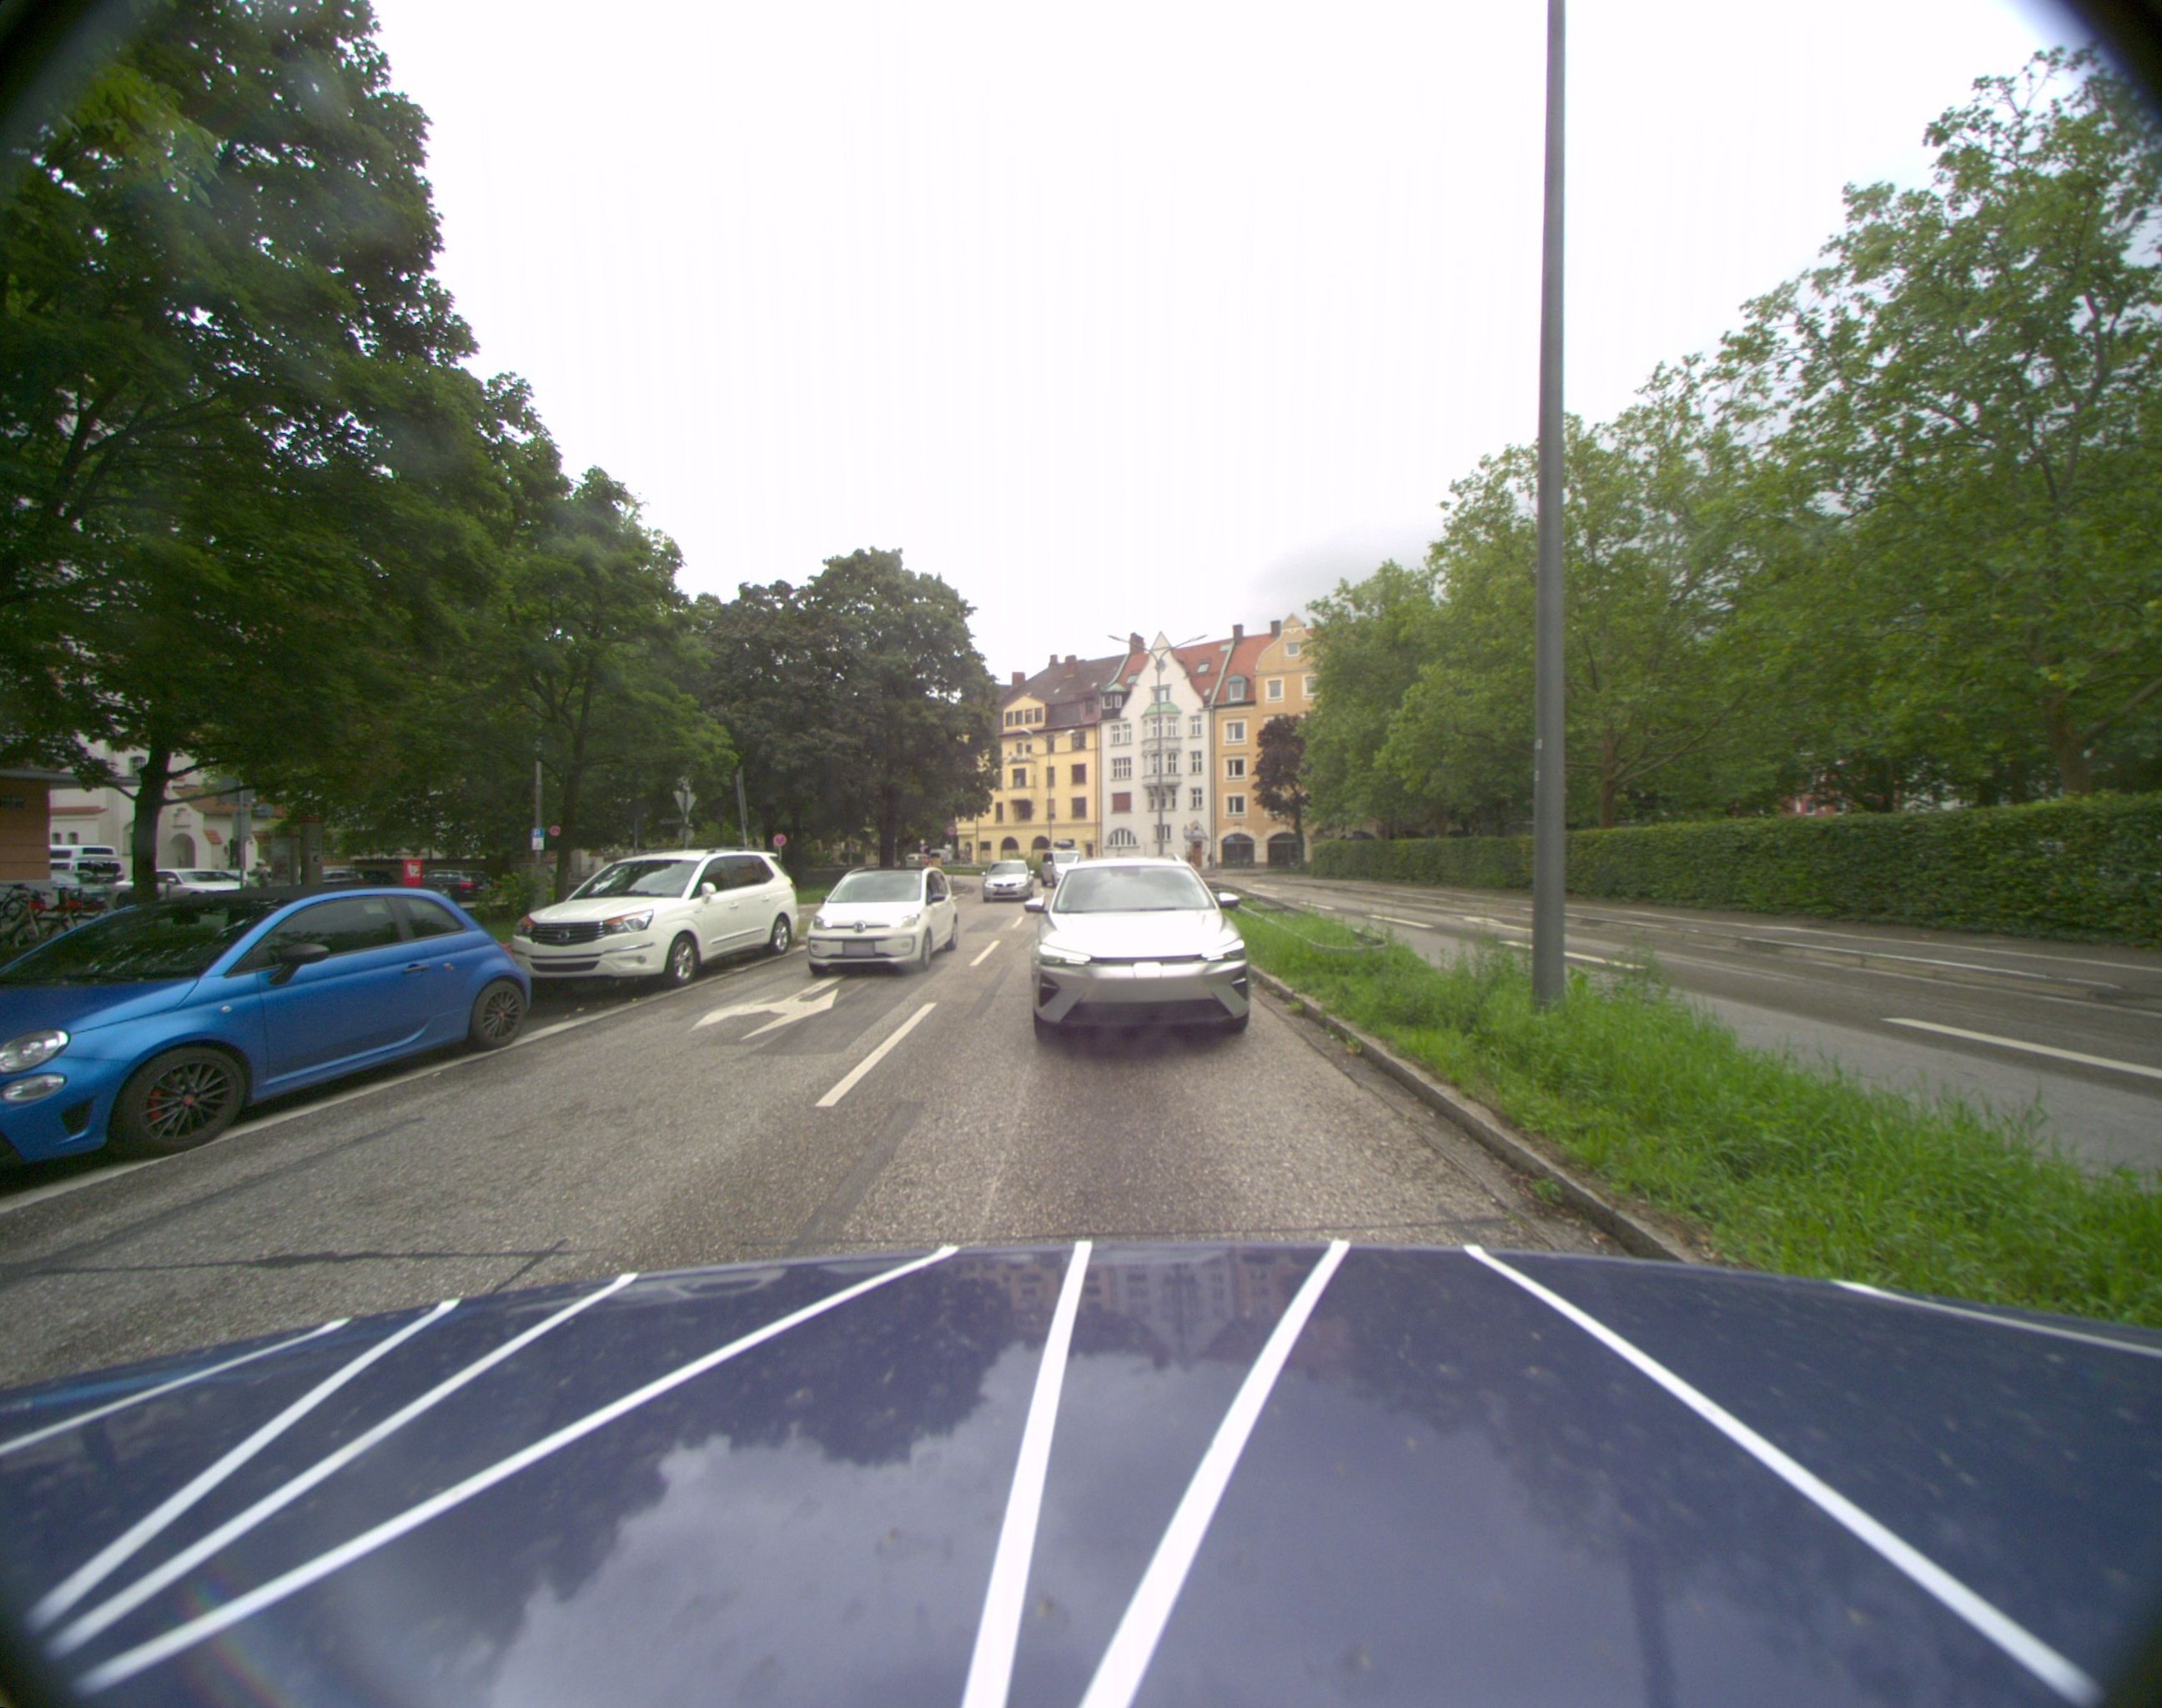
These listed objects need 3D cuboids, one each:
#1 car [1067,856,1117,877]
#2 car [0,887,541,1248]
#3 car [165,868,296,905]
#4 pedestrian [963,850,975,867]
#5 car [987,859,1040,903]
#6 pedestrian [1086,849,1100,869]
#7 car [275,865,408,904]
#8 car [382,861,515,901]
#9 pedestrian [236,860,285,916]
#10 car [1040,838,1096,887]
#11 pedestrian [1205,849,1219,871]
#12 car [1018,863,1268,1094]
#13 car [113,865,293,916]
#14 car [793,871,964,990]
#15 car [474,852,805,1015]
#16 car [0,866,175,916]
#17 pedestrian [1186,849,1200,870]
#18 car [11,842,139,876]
[{"bbox_3d":[0.730,0.847,53.689,1.762,1.377,3.990,-1,0,-30],"label":"car"},{"bbox_3d":[-5.812,1.085,5.230,1.523,1.540,3.662,0,0,1],"label":"car"},{"bbox_3d":[-38.626,1.456,34.543,4.436,1.458,1.862,-2,1,10],"label":"car"},{"bbox_3d":[-13.145,0.530,88.959,1.005,2.002,0.880,-1,1,32],"label":"pedestrian"},{"bbox_3d":[-2.465,0.961,28.638,1.648,1.521,3.886,0,0,0],"label":"car"},{"bbox_3d":[1.257,0.539,79.317,1.005,2.002,0.880,-1,1,32],"label":"pedestrian"},{"bbox_3d":[-32.391,1.323,33.313,4.436,1.458,1.862,-2,1,10],"label":"car"},{"bbox_3d":[-26.822,1.126,32.279,4.436,1.458,1.862,-2,1,10],"label":"car"},{"bbox_3d":[-23.130,0.950,21.431,0.602,1.543,0.644,-2,1,7],"label":"pedestrian"},{"bbox_3d":[-0.752,0.420,38.745,1.915,2.337,4.939,-1,0,-12],"label":"car"},{"bbox_3d":[12.463,0.539,72.114,1.005,2.002,0.880,-1,1,32],"label":"pedestrian"},{"bbox_3d":[0.423,0.878,7.151,1.710,1.521,3.886,0,0,0],"label":"car"},{"bbox_3d":[-29.180,1.187,25.309,4.436,1.458,1.862,-2,1,10],"label":"car"},{"bbox_3d":[-2.920,1.036,11.717,1.648,1.457,3.619,0,0,0],"label":"car"},{"bbox_3d":[-5.945,0.905,11.175,1.848,1.845,5.024,0,0,1],"label":"car"},{"bbox_3d":[-34.285,1.263,26.231,4.436,1.458,1.862,-2,1,10],"label":"car"},{"bbox_3d":[10.890,0.572,74.128,1.005,2.002,0.880,-1,1,32],"label":"pedestrian"},{"bbox_3d":[-48.306,0.231,36.512,4.436,1.458,1.862,-2,1,10],"label":"car"}]
